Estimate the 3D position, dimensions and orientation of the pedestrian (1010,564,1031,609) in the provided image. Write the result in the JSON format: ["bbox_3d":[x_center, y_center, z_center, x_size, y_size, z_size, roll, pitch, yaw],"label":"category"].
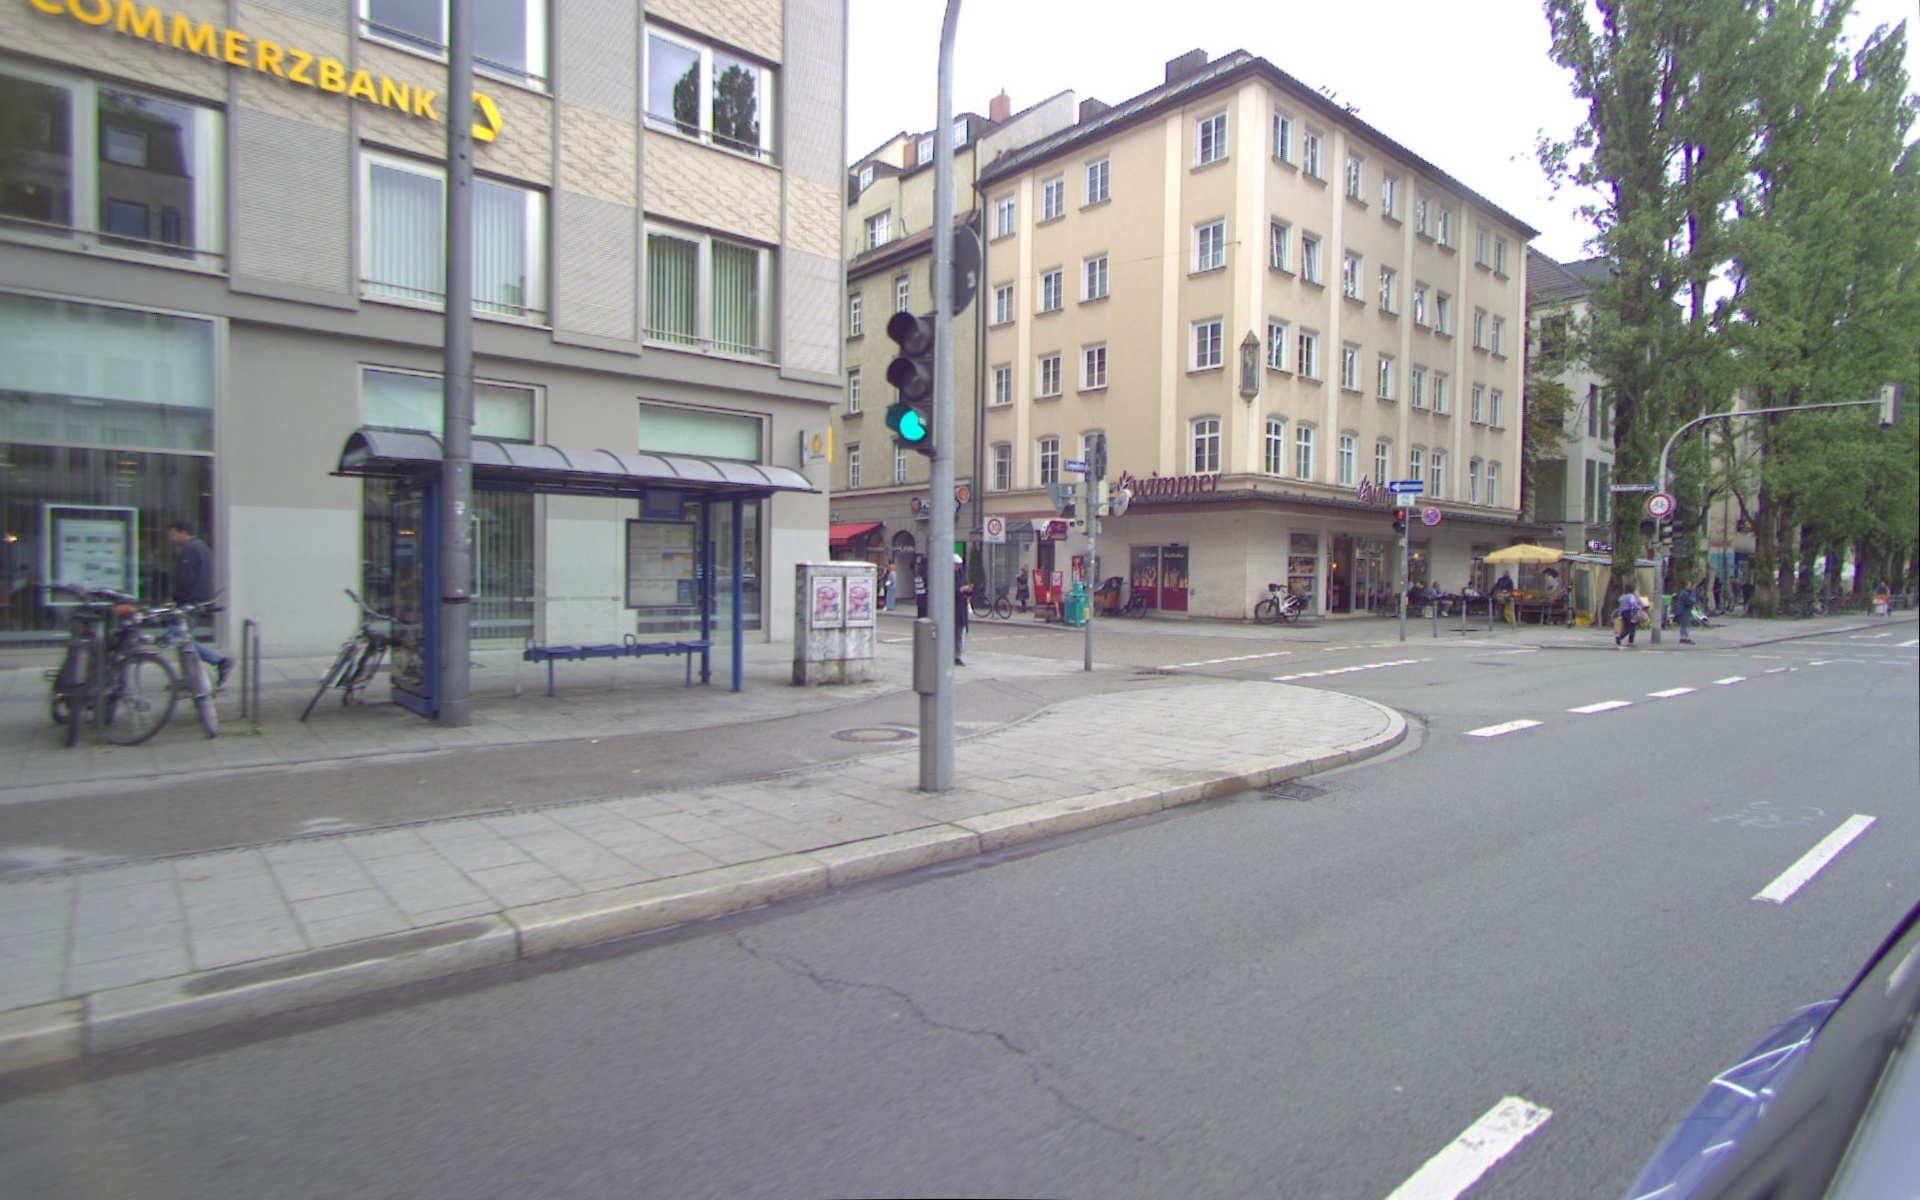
[{"bbox_3d":[2.129,-0.471,35.445,0.437,1.577,0.583,-1,0,-39],"label":"pedestrian"}]

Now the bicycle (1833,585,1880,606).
[{"bbox_3d":[50.754,-0.252,57.303,0.674,1.140,1.902,0,2,-40],"label":"bicycle"}]

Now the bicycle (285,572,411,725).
[{"bbox_3d":[-5.740,0.377,9.612,0.467,1.268,2.252,0,1,-17],"label":"bicycle"}]

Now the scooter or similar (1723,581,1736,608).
[{"bbox_3d":[36.298,-0.264,47.727,1.018,1.289,0.247,0,1,-41],"label":"scooter or similar"}]

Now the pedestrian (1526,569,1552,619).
[{"bbox_3d":[19.839,-0.203,34.676,0.526,1.694,0.542,0,1,-34],"label":"pedestrian"}]

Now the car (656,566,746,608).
[{"bbox_3d":[-9.859,-0.514,38.339,1.729,1.479,3.994,0,2,-41],"label":"car"}]

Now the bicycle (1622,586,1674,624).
[{"bbox_3d":[20.928,0.148,30.777,1.774,1.084,0.406,-1,-4,-25],"label":"bicycle"}]

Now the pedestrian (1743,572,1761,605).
[{"bbox_3d":[43.665,-0.625,55.793,0.662,1.806,0.658,0,1,-39],"label":"pedestrian"}]

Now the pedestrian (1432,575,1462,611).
[{"bbox_3d":[17.786,-0.274,36.977,0.687,1.280,0.777,0,2,-40],"label":"pedestrian"}]

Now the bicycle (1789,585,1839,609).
[{"bbox_3d":[41.850,-0.153,49.610,1.864,1.149,0.335,2,2,42],"label":"bicycle"}]

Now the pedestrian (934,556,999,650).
[{"bbox_3d":[0.120,0.043,19.689,0.999,1.780,0.752,0,1,-40],"label":"pedestrian"}]

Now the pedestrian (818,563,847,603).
[{"bbox_3d":[-5.220,-0.700,41.430,0.804,1.629,0.867,-1,1,-39],"label":"pedestrian"}]

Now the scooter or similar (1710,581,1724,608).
[{"bbox_3d":[36.022,-0.259,48.164,1.018,1.289,0.331,0,1,-41],"label":"scooter or similar"}]

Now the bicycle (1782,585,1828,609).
[{"bbox_3d":[40.927,-0.173,49.028,1.657,1.120,0.391,2,2,39],"label":"bicycle"}]

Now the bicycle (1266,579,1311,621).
[{"bbox_3d":[9.686,-0.010,29.831,1.781,1.185,0.435,-1,1,-43],"label":"bicycle"}]

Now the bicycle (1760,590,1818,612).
[{"bbox_3d":[37.670,0.038,46.011,1.997,0.957,0.282,2,2,42],"label":"bicycle"}]

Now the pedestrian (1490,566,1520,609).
[{"bbox_3d":[20.712,-0.492,38.471,0.687,1.609,0.777,0,2,-40],"label":"pedestrian"}]

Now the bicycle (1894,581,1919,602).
[{"bbox_3d":[66.591,-0.603,70.882,0.819,1.429,2.580,0,1,23],"label":"bicycle"}]

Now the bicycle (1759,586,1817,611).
[{"bbox_3d":[37.420,-0.079,45.778,1.996,1.096,0.282,2,2,41],"label":"bicycle"}]

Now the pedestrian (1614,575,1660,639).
[{"bbox_3d":[16.542,0.160,24.755,0.608,1.536,0.769,-1,2,3],"label":"pedestrian"}]

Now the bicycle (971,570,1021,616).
[{"bbox_3d":[1.126,-0.252,31.975,0.472,1.403,1.832,0,2,-39],"label":"bicycle"}]

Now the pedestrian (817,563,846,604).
[{"bbox_3d":[-5.107,-0.654,40.266,0.804,1.629,0.867,-1,1,-39],"label":"pedestrian"}]

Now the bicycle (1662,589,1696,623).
[{"bbox_3d":[22.775,0.177,32.047,1.740,1.061,0.509,-1,2,-43],"label":"bicycle"}]

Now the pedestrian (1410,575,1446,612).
[{"bbox_3d":[16.584,-0.229,35.878,0.687,1.212,0.871,-1,6,-40],"label":"pedestrian"}]

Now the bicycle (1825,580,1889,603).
[{"bbox_3d":[49.865,-0.487,56.279,0.948,1.230,2.576,0,2,-40],"label":"bicycle"}]

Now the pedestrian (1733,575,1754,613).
[{"bbox_3d":[41.508,-0.319,53.609,0.709,1.995,0.658,0,1,-38],"label":"pedestrian"}]

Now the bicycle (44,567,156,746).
[{"bbox_3d":[-7.033,0.371,8.292,0.622,1.268,2.348,0,2,-40],"label":"bicycle"}]

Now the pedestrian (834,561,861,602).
[{"bbox_3d":[-4.767,-0.792,42.896,0.804,1.717,0.867,-1,1,-39],"label":"pedestrian"}]

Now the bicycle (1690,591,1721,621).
[{"bbox_3d":[25.472,0.186,34.561,1.740,0.987,0.509,-1,2,-43],"label":"bicycle"}]

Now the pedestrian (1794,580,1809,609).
[{"bbox_3d":[50.853,-0.338,61.154,0.684,1.764,0.566,0,1,-38],"label":"pedestrian"}]

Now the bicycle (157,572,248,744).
[{"bbox_3d":[-6.462,0.405,8.590,0.469,1.268,2.319,0,2,-40],"label":"bicycle"}]

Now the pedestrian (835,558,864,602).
[{"bbox_3d":[-4.551,-0.830,41.688,0.804,1.790,0.867,-1,1,-39],"label":"pedestrian"}]

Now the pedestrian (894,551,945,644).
[{"bbox_3d":[-0.799,-0.055,19.952,0.698,1.780,0.752,0,1,-39],"label":"pedestrian"}]

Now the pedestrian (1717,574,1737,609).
[{"bbox_3d":[40.990,-0.463,54.091,0.889,1.874,0.658,0,1,-39],"label":"pedestrian"}]

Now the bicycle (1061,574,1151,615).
[{"bbox_3d":[4.700,-0.191,32.888,0.982,1.268,2.976,-1,1,-41],"label":"bicycle"}]

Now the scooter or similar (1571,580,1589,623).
[{"bbox_3d":[18.621,0.036,30.389,0.405,1.259,1.356,1,1,33],"label":"scooter or similar"}]

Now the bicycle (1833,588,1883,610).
[{"bbox_3d":[46.222,-0.073,52.105,0.385,1.021,1.848,0,3,-31],"label":"bicycle"}]

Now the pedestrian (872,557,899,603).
[{"bbox_3d":[-2.918,-0.779,39.541,0.663,1.790,1.003,-1,0,-32],"label":"pedestrian"}]

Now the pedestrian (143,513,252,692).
[{"bbox_3d":[-8.287,0.013,10.998,0.875,1.840,0.819,0,1,-42],"label":"pedestrian"}]

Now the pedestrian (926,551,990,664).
[{"bbox_3d":[-0.036,0.108,16.429,0.739,1.780,0.710,0,1,-39],"label":"pedestrian"}]

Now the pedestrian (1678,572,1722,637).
[{"bbox_3d":[18.981,0.100,25.947,0.850,1.629,0.766,0,2,-45],"label":"pedestrian"}]

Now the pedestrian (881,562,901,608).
[{"bbox_3d":[-2.511,-0.560,37.023,0.573,1.665,0.445,-1,0,-32],"label":"pedestrian"}]
